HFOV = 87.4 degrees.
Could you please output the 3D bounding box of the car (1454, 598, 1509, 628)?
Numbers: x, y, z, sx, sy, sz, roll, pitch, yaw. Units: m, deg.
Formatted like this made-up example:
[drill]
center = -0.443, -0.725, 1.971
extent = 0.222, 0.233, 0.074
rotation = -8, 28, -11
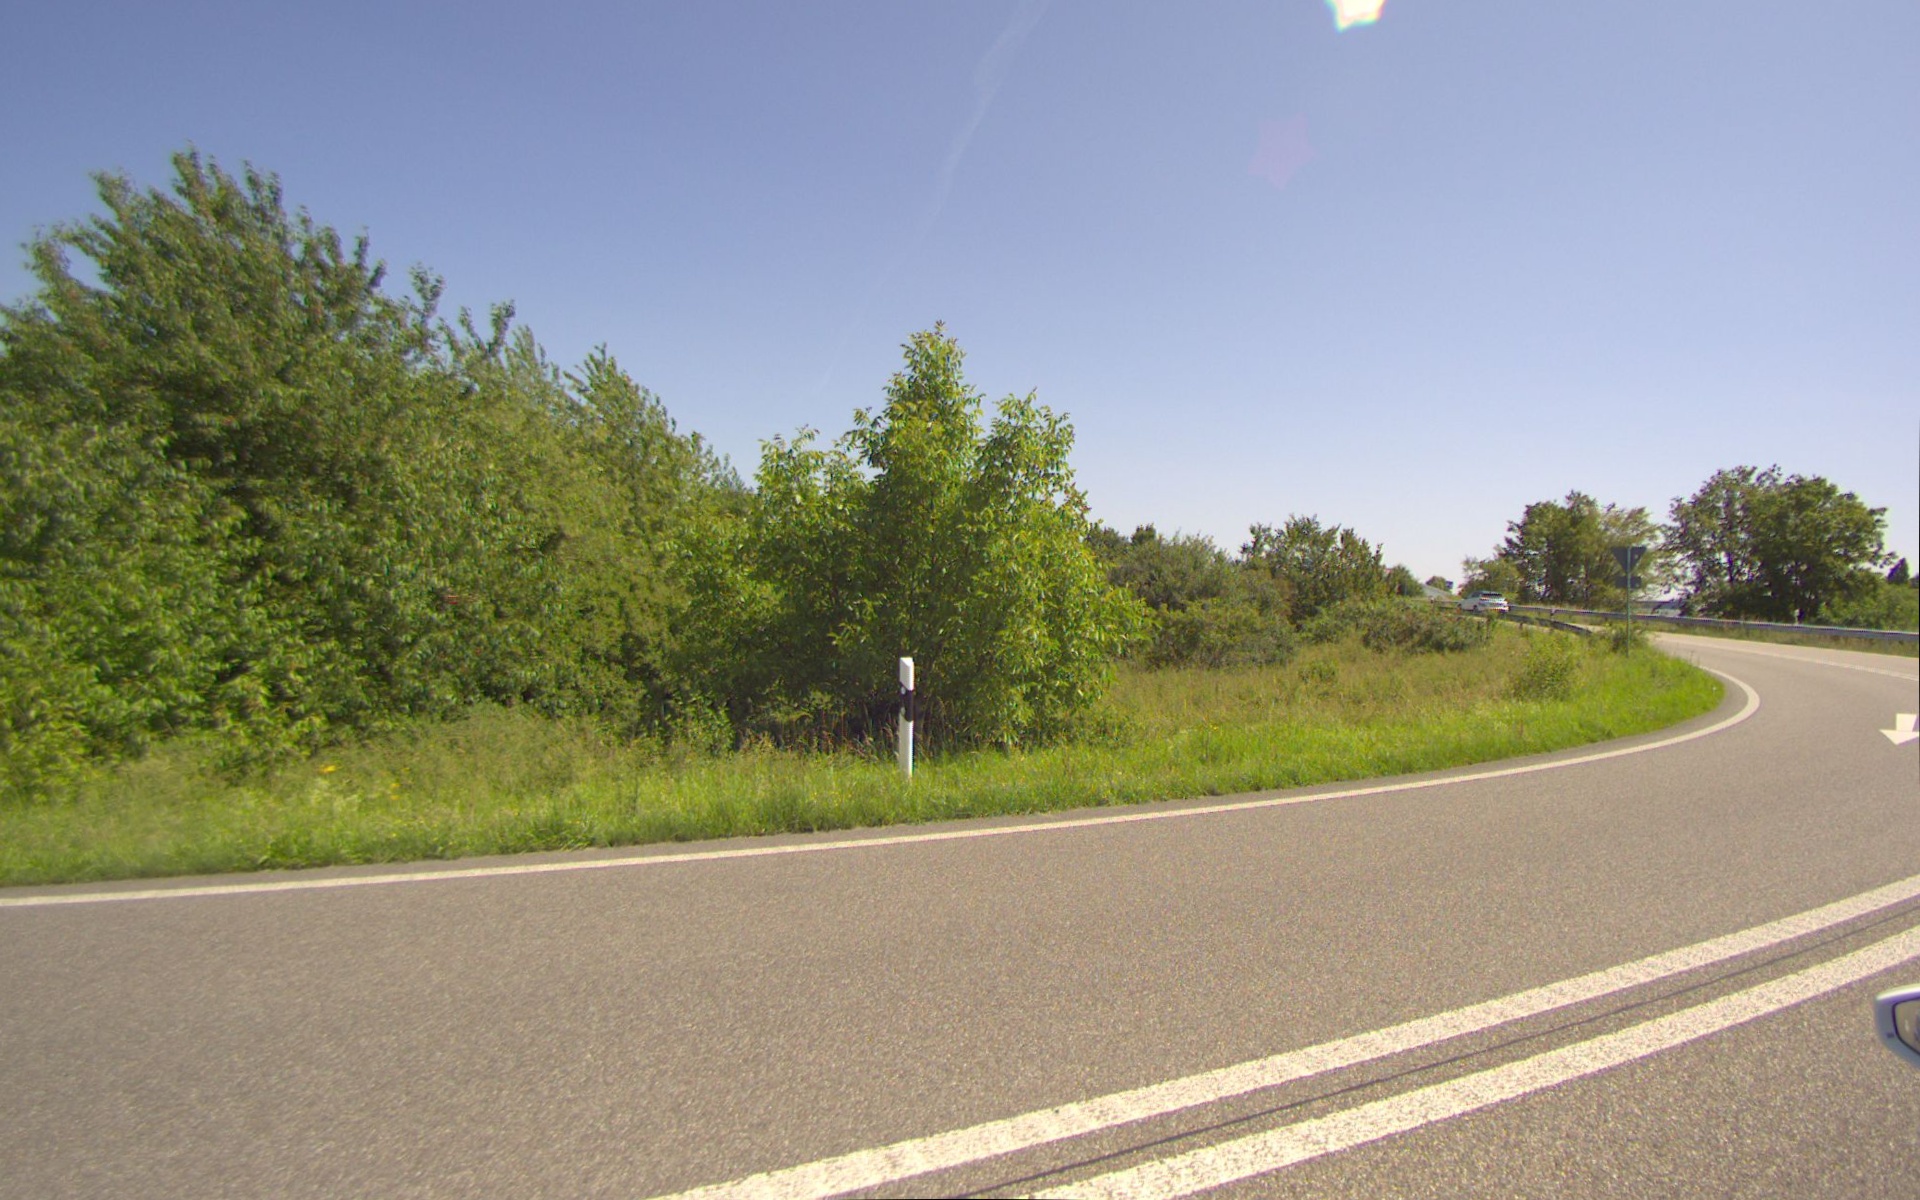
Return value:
[car]
center = 32.450, 0.800, 62.572
extent = 1.778, 1.713, 4.002
rotation = 2, 0, 8
